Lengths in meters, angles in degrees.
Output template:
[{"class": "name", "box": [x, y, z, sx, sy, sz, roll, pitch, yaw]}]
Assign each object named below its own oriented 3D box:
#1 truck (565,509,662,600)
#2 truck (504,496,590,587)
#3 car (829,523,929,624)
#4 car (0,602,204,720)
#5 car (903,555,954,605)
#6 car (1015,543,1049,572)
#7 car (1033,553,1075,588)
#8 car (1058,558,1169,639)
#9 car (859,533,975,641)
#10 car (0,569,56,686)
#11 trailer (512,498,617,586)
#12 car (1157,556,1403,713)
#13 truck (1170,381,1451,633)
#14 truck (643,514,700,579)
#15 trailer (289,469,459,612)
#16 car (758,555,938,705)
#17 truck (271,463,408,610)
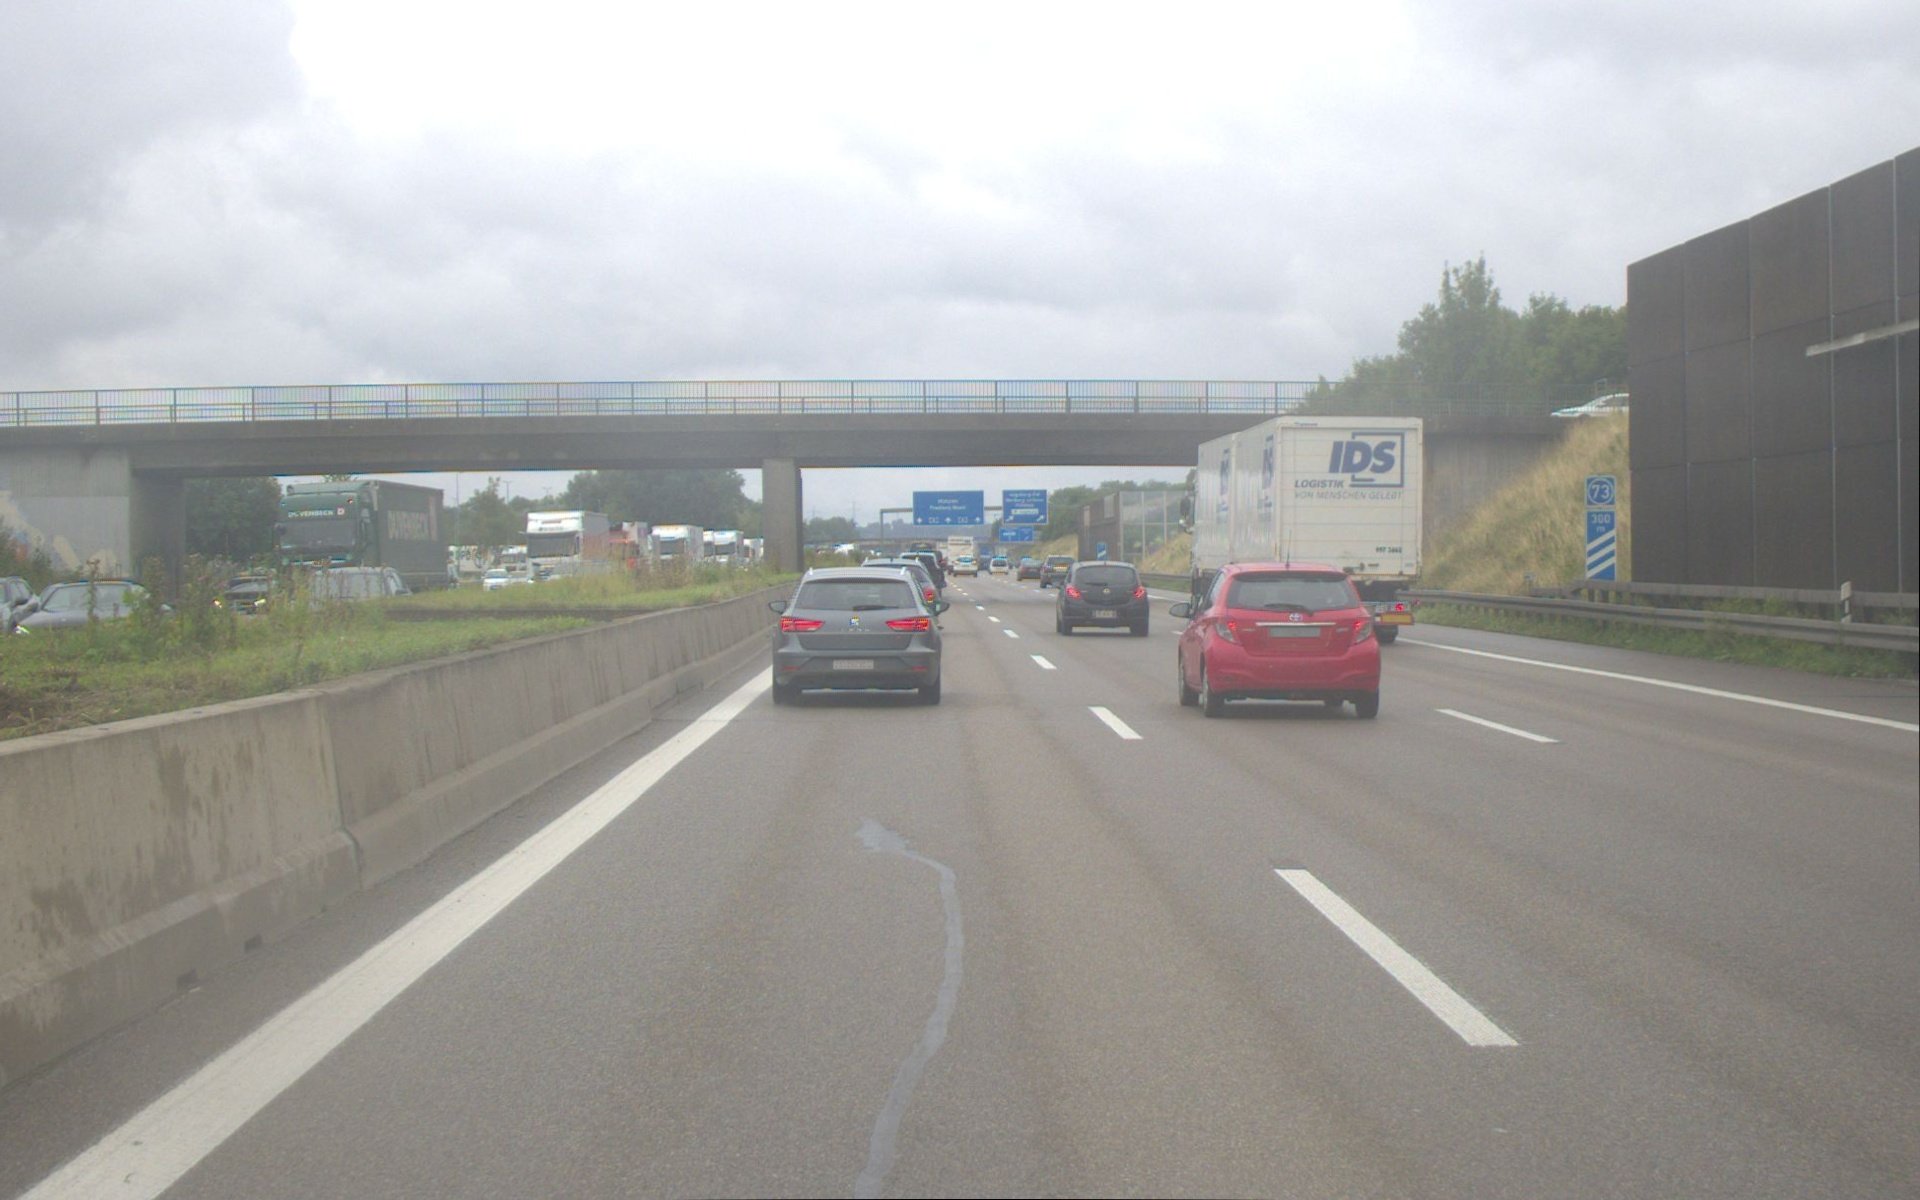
[{"class": "truck", "box": [-19.598, -2.541, 195.397, 4.033, 4.927, 14.434, 1, 0, 0]}, {"class": "truck", "box": [-18.933, -2.668, 157.892, 3.272, 4.031, 5.293, 1, 0, 0]}, {"class": "car", "box": [-1.535, -0.520, 65.712, 1.825, 1.844, 4.000, -1, 1, -1]}, {"class": "car", "box": [-13.653, 0.937, 54.885, 2.093, 1.704, 4.800, 0, 1, 0]}, {"class": "car", "box": [-1.166, -0.748, 126.687, 1.704, 1.790, 3.855, -1, 1, -2]}, {"class": "car", "box": [4.649, -2.754, 222.277, 1.993, 1.806, 4.228, -1, 1, 0]}, {"class": "car", "box": [4.655, -1.464, 170.432, 1.845, 1.681, 4.000, 1, 0, -2]}, {"class": "car", "box": [3.001, -0.063, 67.968, 1.921, 1.516, 4.622, 0, 1, -1]}, {"class": "car", "box": [-0.778, -0.267, 62.774, 1.993, 1.854, 4.000, -1, 1, 0]}, {"class": "car", "box": [-17.656, 0.486, 61.337, 1.993, 2.007, 4.000, -1, 1, 0]}, {"class": "trailer", "box": [-18.983, -2.723, 166.165, 3.323, 3.965, 15.745, 1, 0, 0]}, {"class": "car", "box": [3.117, 0.296, 34.429, 1.891, 1.442, 4.685, 0, 1, -2]}, {"class": "truck", "box": [6.640, -1.662, 68.920, 3.283, 4.280, 19.034, 1, 0, -1]}, {"class": "truck", "box": [-19.536, -3.580, 233.484, 2.977, 4.304, 9.669, 1, 0, 0]}, {"class": "trailer", "box": [-17.759, -1.735, 105.224, 2.757, 4.036, 14.519, 1, 0, 0]}, {"class": "car", "box": [-1.157, 0.289, 36.387, 1.768, 1.462, 4.000, 1, 0, -1]}, {"class": "truck", "box": [-17.681, -1.778, 98.367, 2.757, 4.036, 6.255, 1, 0, 0]}]
